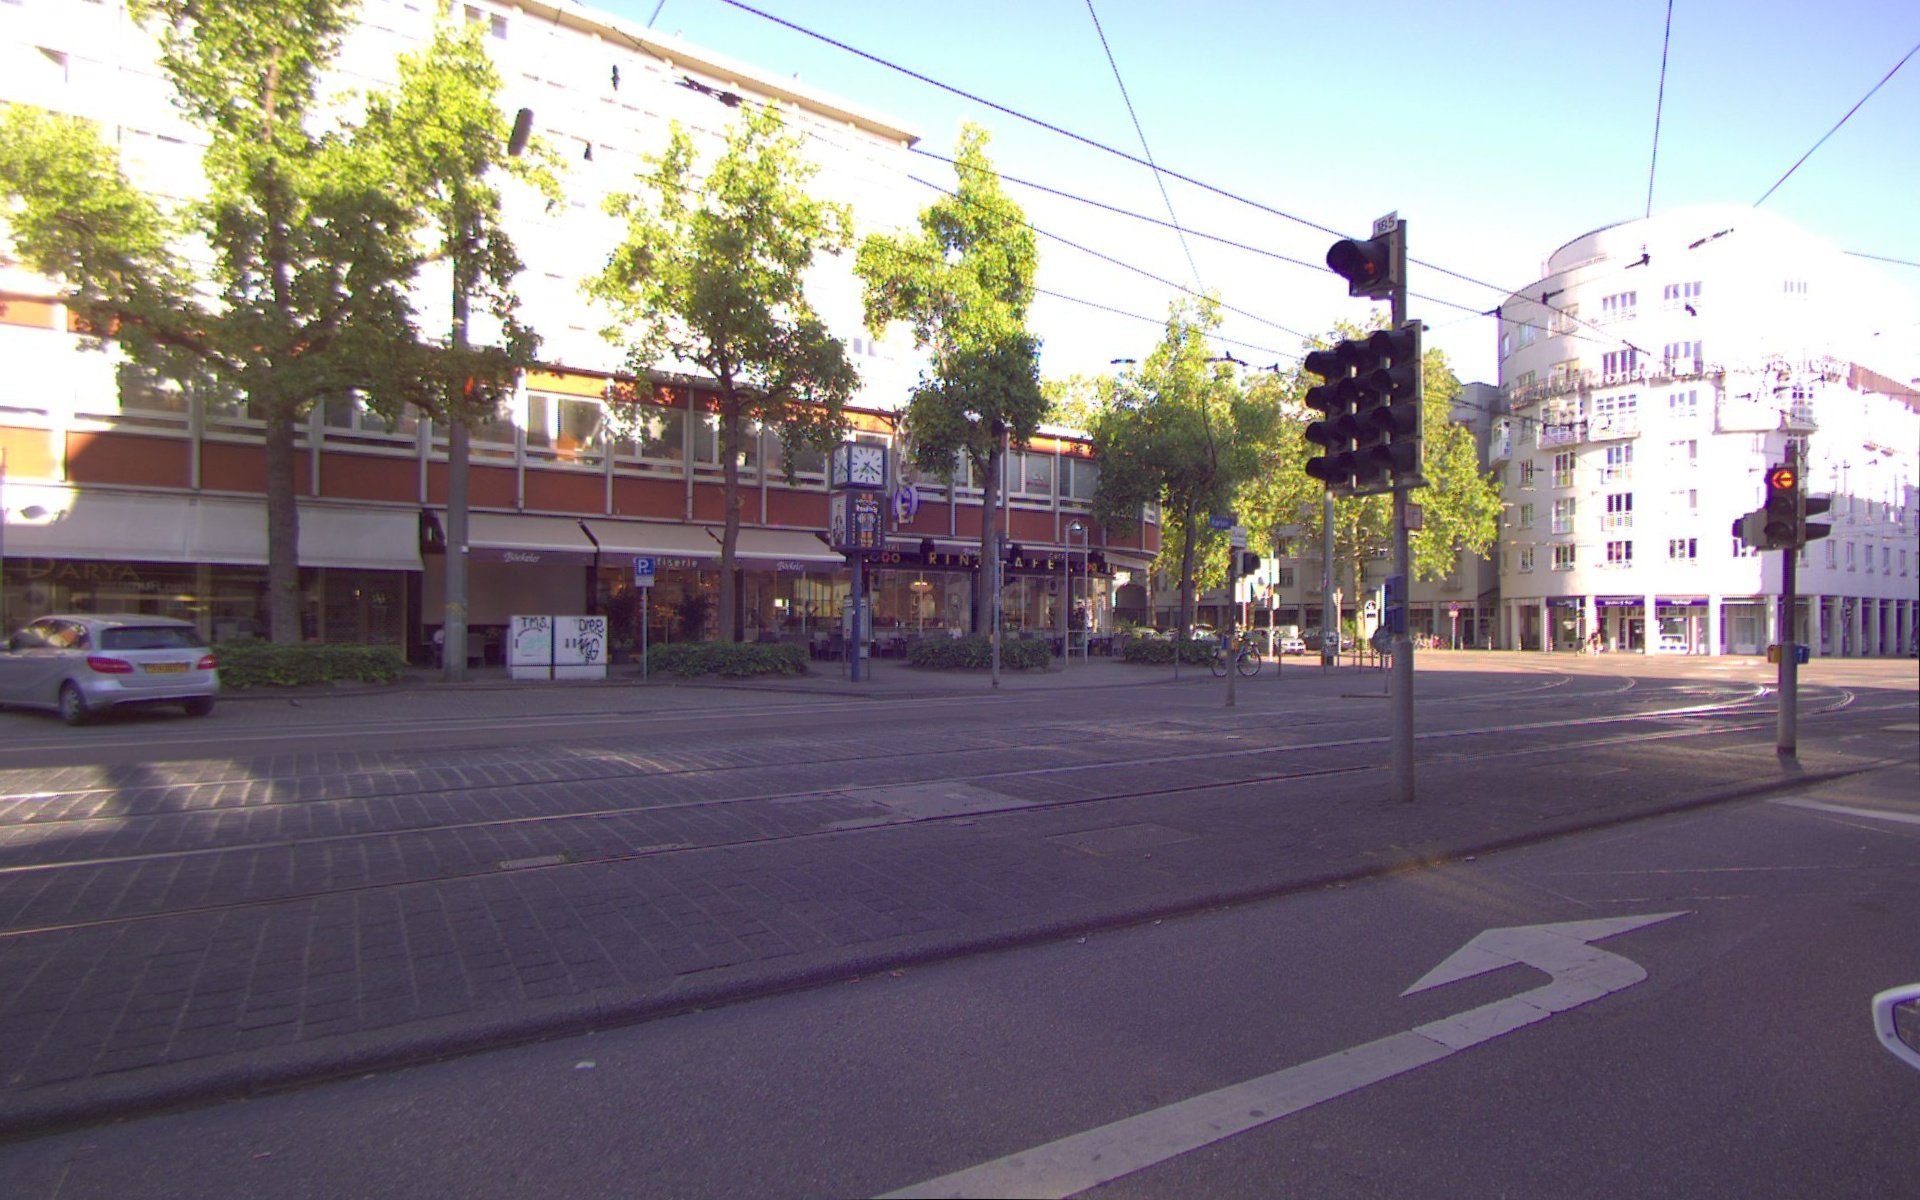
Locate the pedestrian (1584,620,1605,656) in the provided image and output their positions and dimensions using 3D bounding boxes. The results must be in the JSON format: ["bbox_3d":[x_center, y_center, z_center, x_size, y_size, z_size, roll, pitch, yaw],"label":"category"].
[{"bbox_3d":[36.300,2.165,57.481,0.930,2.040,0.939,0,-1,30],"label":"pedestrian"}]

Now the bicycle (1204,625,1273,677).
[{"bbox_3d":[7.655,1.383,27.557,1.884,1.345,0.667,1,2,-30],"label":"bicycle"}]

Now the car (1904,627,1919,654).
[{"bbox_3d":[58.426,2.428,60.313,3.423,1.566,1.756,1,-2,-32],"label":"car"}]

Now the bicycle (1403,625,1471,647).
[{"bbox_3d":[33.927,2.540,71.604,1.053,1.550,4.684,1,-2,-29],"label":"bicycle"}]

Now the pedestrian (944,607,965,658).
[{"bbox_3d":[-0.191,1.112,34.986,0.590,1.745,0.647,0,1,-14],"label":"pedestrian"}]

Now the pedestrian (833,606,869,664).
[{"bbox_3d":[-3.350,1.055,30.870,0.866,1.745,0.700,0,1,-34],"label":"pedestrian"}]

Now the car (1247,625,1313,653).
[{"bbox_3d":[18.683,2.269,58.825,1.605,1.579,4.001,0,-2,-19],"label":"car"}]

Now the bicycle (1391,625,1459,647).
[{"bbox_3d":[32.896,2.533,71.140,1.053,1.550,4.684,1,-2,-29],"label":"bicycle"}]

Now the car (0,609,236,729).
[{"bbox_3d":[-13.543,0.985,15.719,4.200,1.587,1.825,1,-1,26],"label":"car"}]

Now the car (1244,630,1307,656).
[{"bbox_3d":[16.819,2.282,53.712,1.738,1.312,4.014,0,-2,-7],"label":"car"}]

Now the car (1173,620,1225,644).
[{"bbox_3d":[19.862,2.647,83.428,3.954,1.990,1.984,1,-1,-31],"label":"car"}]

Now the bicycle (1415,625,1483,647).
[{"bbox_3d":[35.219,2.579,72.432,1.053,1.550,4.684,1,-2,-29],"label":"bicycle"}]

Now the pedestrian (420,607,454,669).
[{"bbox_3d":[-13.503,0.973,25.928,0.699,1.584,0.867,1,-1,-33],"label":"pedestrian"}]

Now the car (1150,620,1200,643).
[{"bbox_3d":[18.381,2.685,85.939,3.954,1.990,1.984,1,-1,-31],"label":"car"}]

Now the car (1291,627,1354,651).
[{"bbox_3d":[24.113,2.576,66.942,1.595,1.551,3.972,0,-1,-27],"label":"car"}]
